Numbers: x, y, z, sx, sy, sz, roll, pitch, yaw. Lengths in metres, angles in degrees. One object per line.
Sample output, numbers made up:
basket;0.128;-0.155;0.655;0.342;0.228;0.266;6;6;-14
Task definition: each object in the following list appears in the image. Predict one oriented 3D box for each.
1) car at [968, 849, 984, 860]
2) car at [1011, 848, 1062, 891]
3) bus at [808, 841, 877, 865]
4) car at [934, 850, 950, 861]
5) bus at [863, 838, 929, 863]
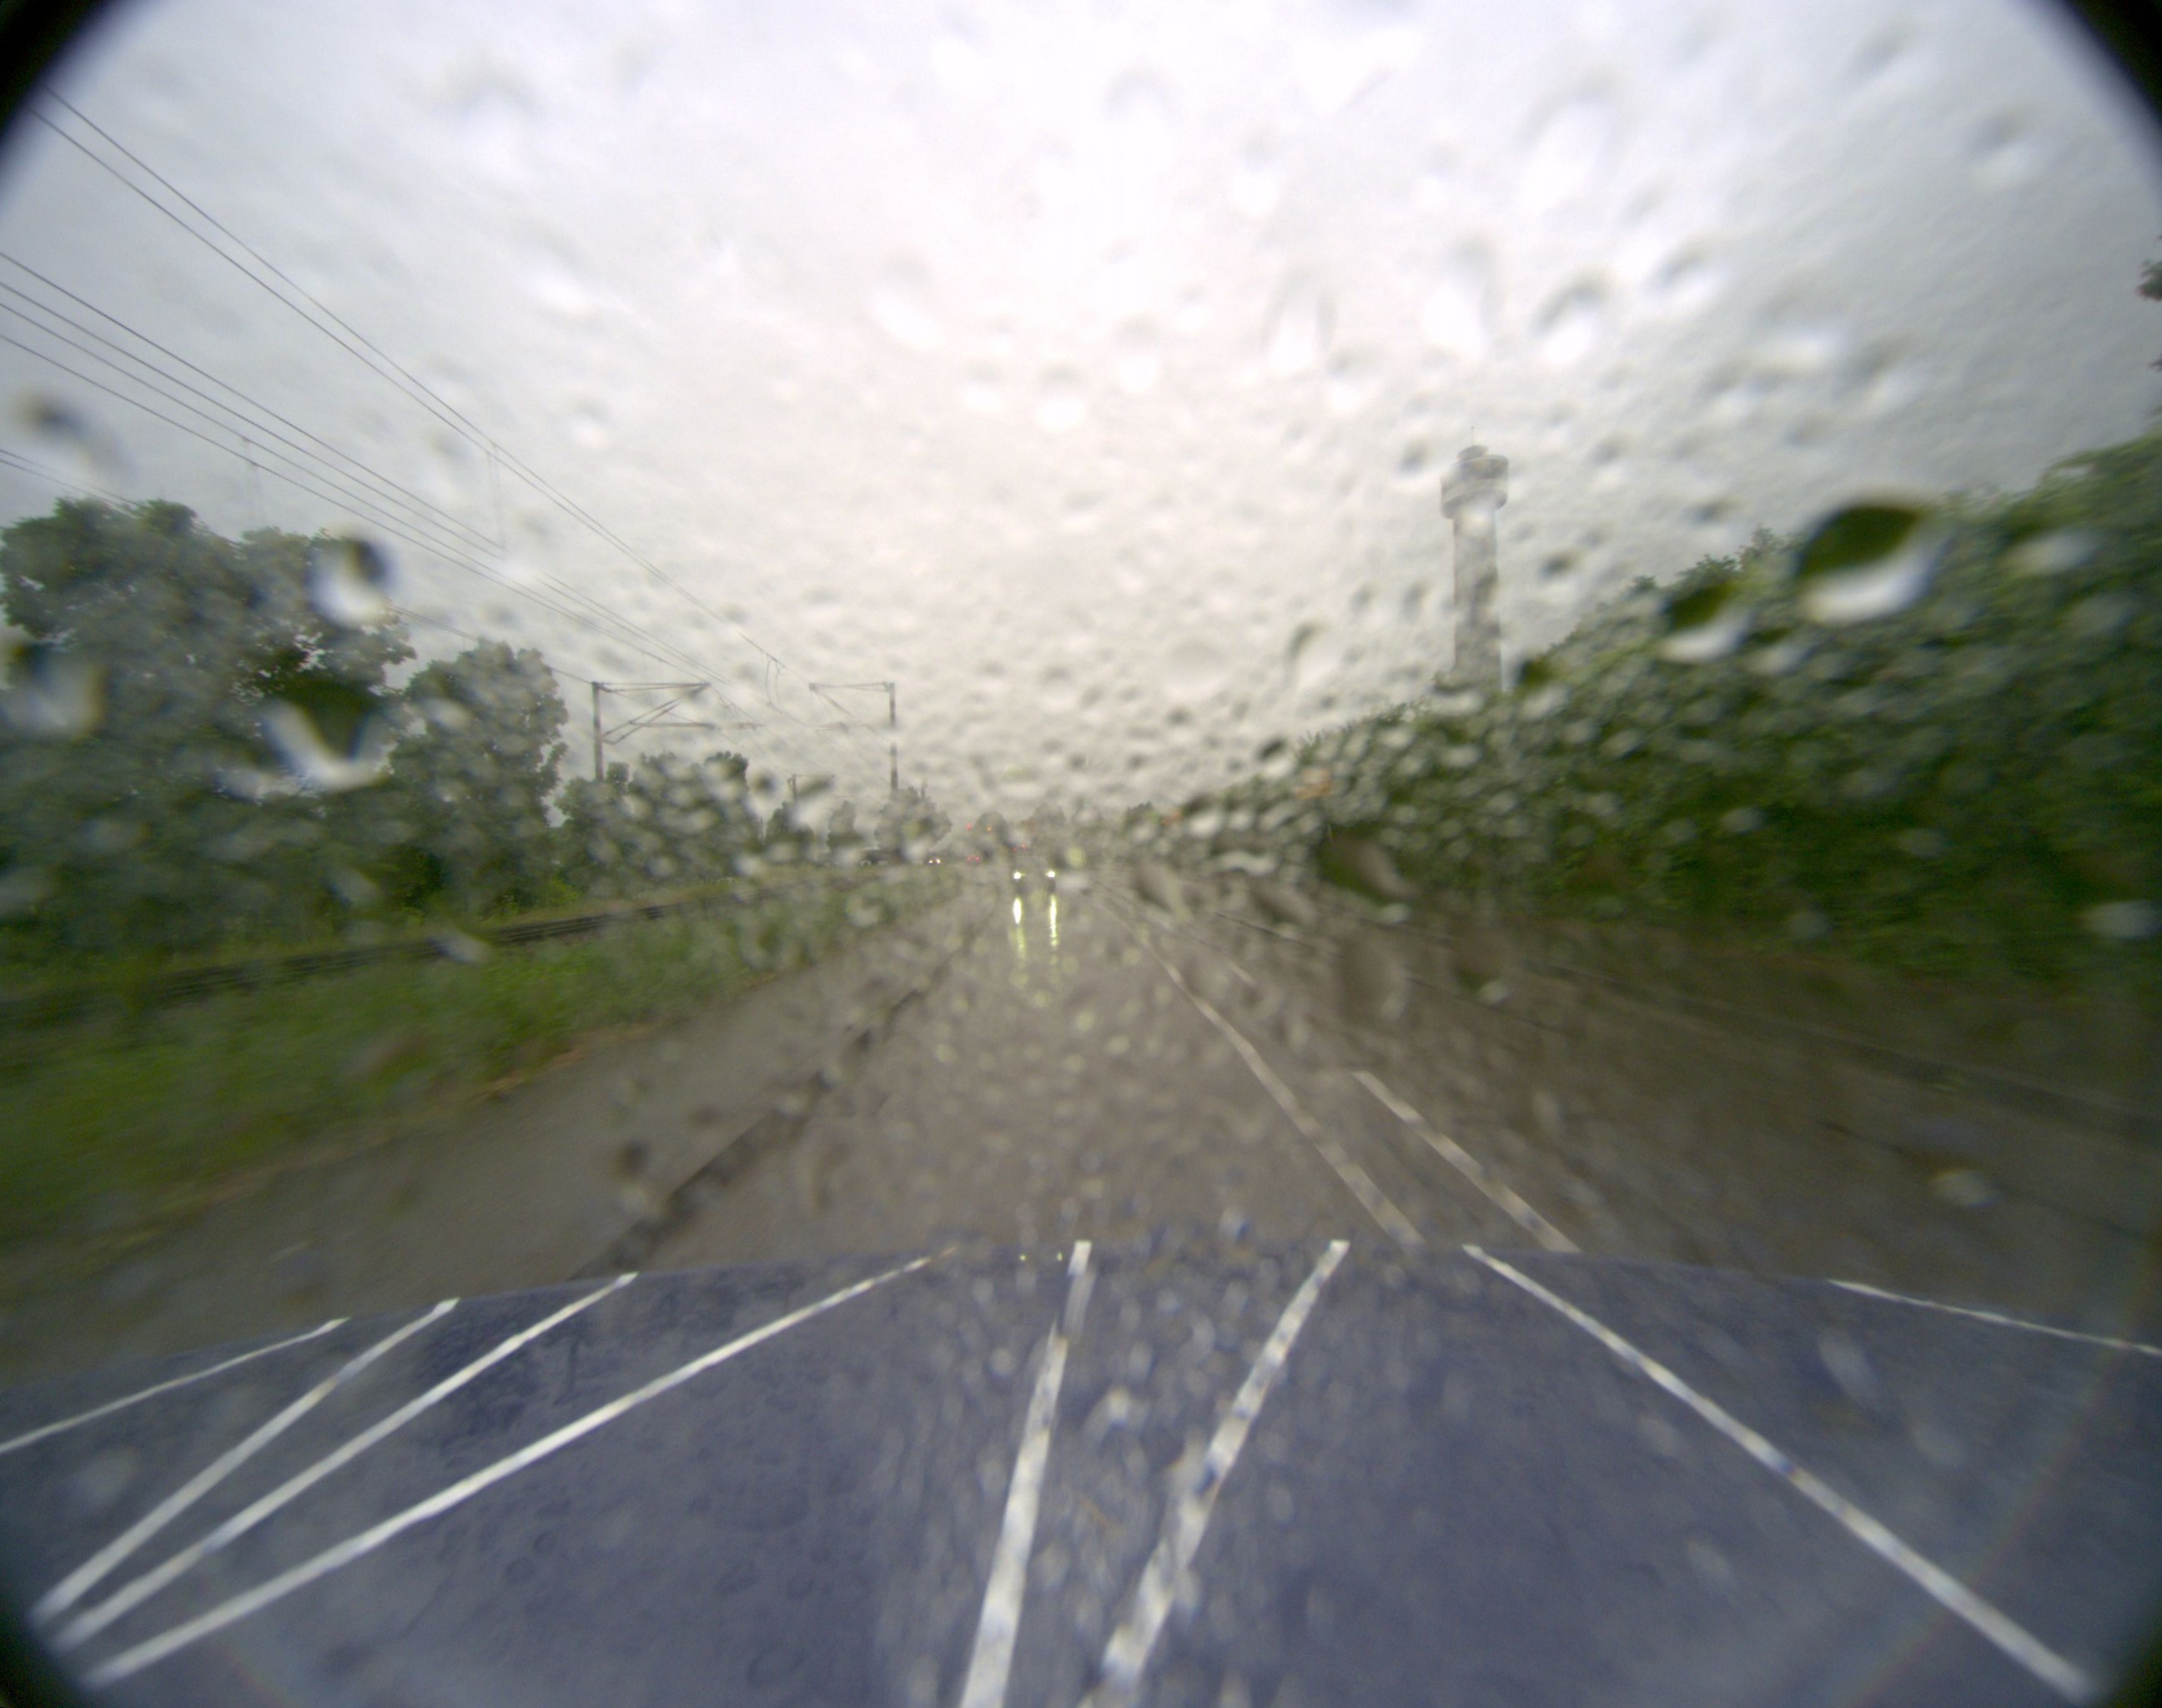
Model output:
car;-15.167;0.076;109.195;1.769;1.528;3.871;-1;1;-15
car;-1.986;0.615;33.041;1.999;1.623;3.997;-2;1;-5
bus;-34.988;-0.180;111.367;9.972;3.060;2.682;-2;1;21
car;-28.604;0.282;156.460;1.918;2.002;4.003;-2;1;12
bus;-26.131;-0.461;106.981;9.968;3.060;2.683;-2;1;32
